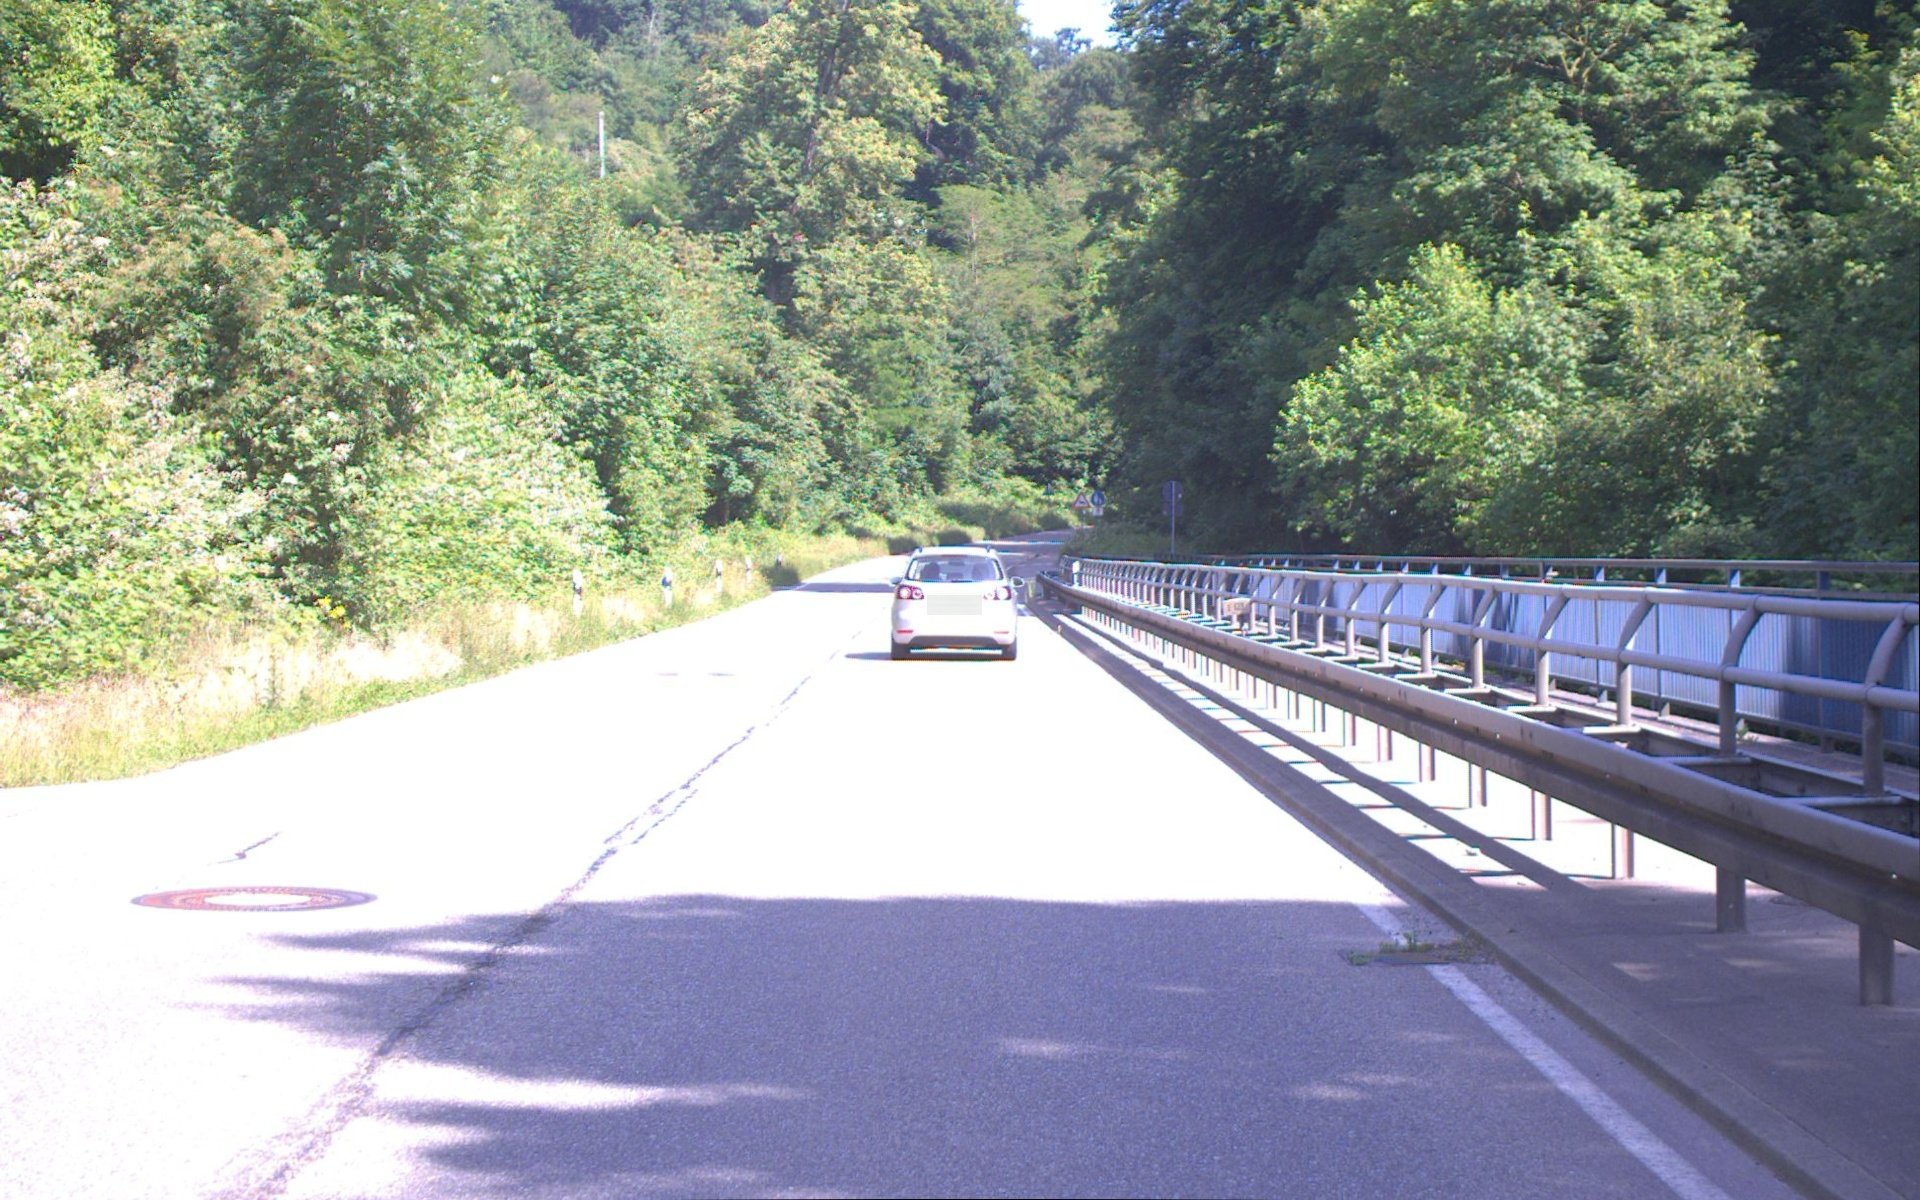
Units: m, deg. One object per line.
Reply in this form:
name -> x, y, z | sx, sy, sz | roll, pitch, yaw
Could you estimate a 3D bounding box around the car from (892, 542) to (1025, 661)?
car -> -0.017, -0.009, 48.270 | 1.751, 1.514, 4.159 | 1, 2, 0
